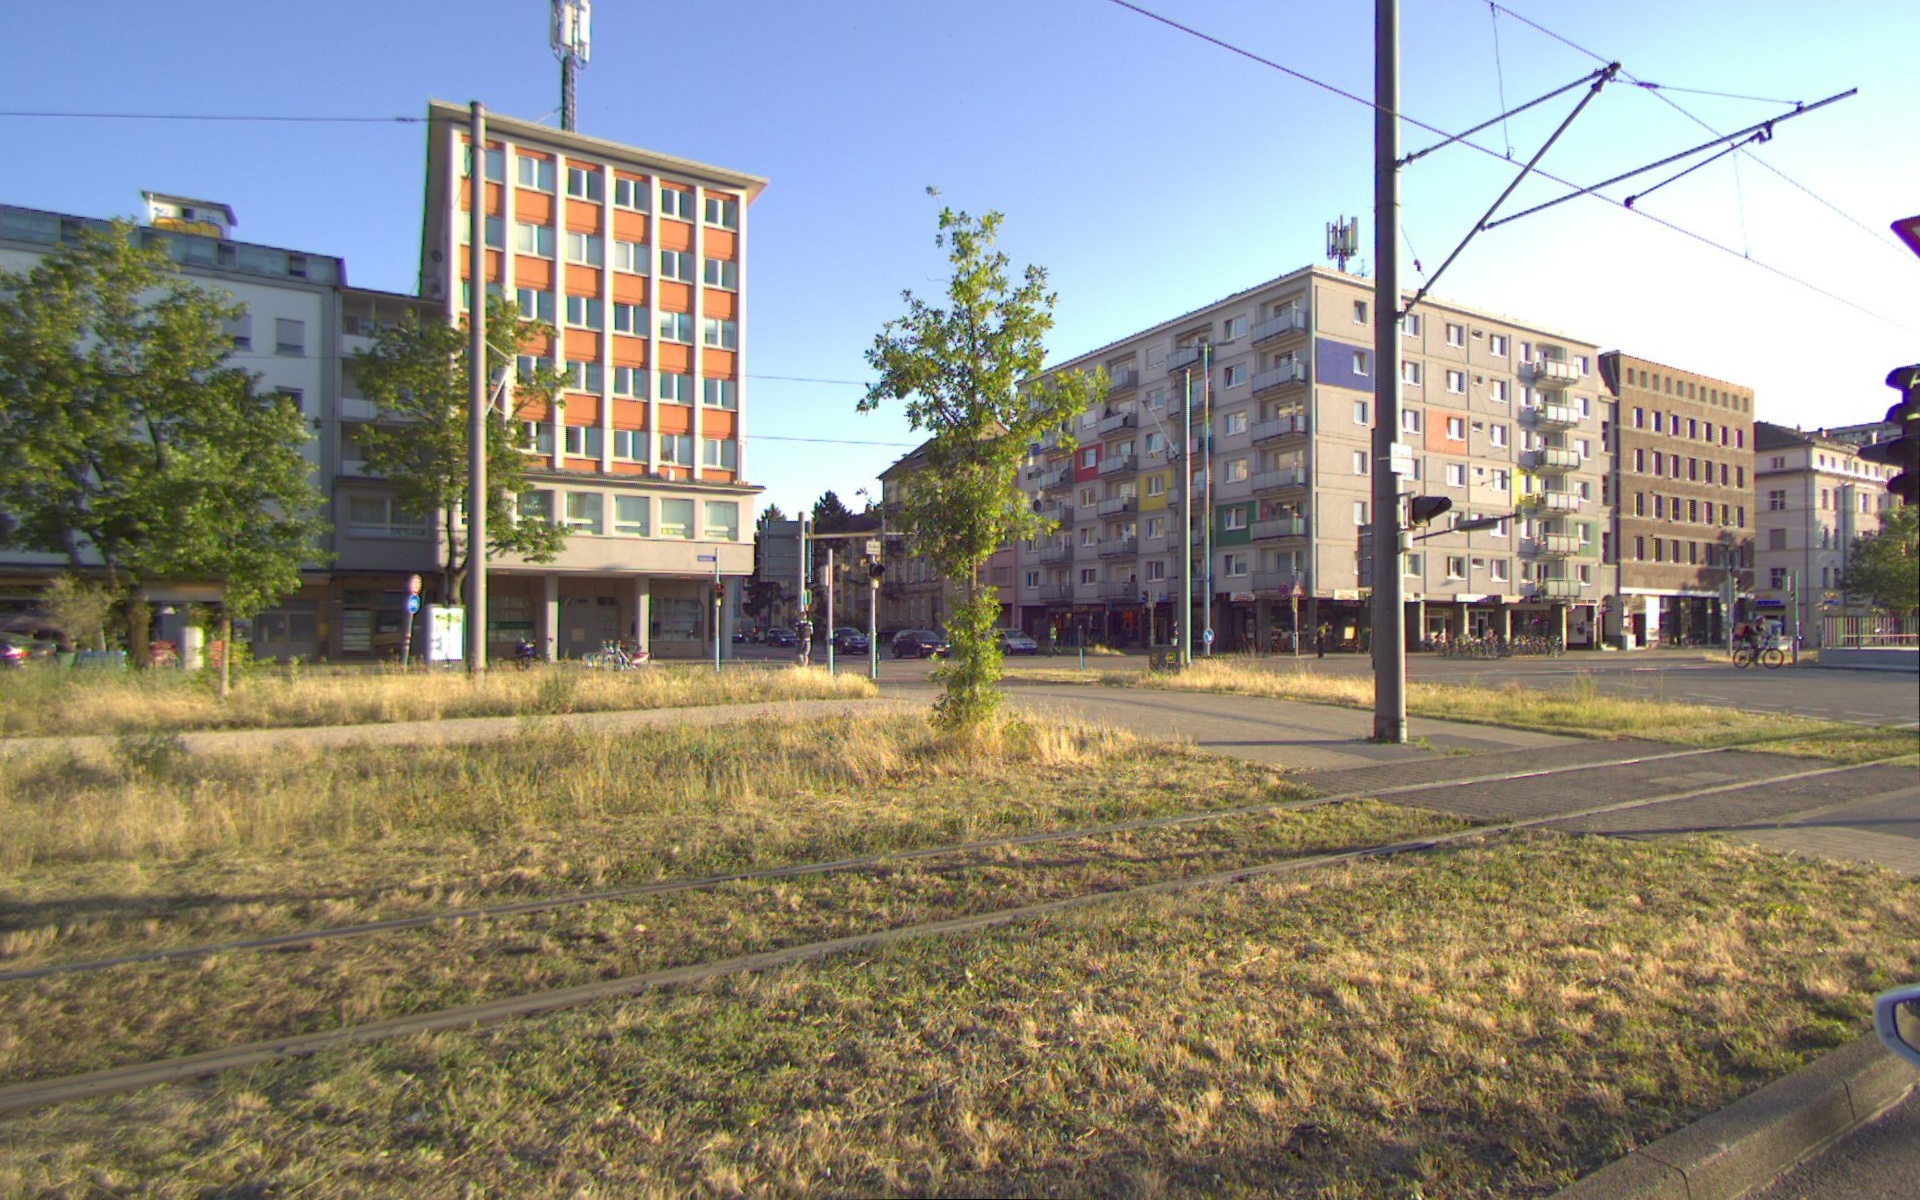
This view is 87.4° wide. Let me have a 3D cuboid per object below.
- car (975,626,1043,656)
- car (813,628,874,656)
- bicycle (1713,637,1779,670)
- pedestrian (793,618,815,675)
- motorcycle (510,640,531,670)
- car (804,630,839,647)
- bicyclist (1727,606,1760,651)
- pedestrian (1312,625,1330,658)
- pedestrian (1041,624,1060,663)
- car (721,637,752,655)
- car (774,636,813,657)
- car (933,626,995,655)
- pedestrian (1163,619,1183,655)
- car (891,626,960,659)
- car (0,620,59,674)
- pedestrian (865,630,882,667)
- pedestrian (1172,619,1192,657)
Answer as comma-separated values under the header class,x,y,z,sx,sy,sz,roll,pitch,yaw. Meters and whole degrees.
class,x,y,z,sx,sy,sz,roll,pitch,yaw
car,2.695,2.248,55.620,1.786,1.606,3.840,-1,-1,-35
car,-7.221,2.548,61.843,1.969,1.606,4.252,-1,-1,-35
bicycle,26.570,1.791,33.967,1.708,0.983,0.700,2,3,41
pedestrian,-4.929,1.454,31.758,0.638,1.786,0.721,-1,-1,-9
motorcycle,-16.851,2.095,38.509,0.525,1.082,1.442,-1,-1,-31
car,-13.451,3.734,97.429,1.786,1.606,3.840,-1,-1,-35
bicyclist,26.504,0.945,33.988,0.843,1.462,0.660,1,2,41
pedestrian,18.881,2.159,52.538,0.767,1.692,0.741,-1,-1,10
pedestrian,4.508,2.161,50.128,0.673,1.872,0.630,-1,-1,-30
car,-21.550,4.435,96.895,1.803,1.572,3.969,-1,-1,-30
car,-13.225,3.690,79.715,1.803,1.572,3.969,-1,-1,-30
car,0.196,2.366,59.669,1.786,1.606,3.840,-1,-1,-35
pedestrian,11.093,1.928,52.369,0.728,1.876,0.701,-1,-1,-30
car,-1.839,2.215,52.592,1.786,1.606,3.840,-1,-2,-35
car,-29.794,1.420,29.852,4.213,1.547,1.758,-1,-1,-8
pedestrian,-3.920,2.193,45.414,0.608,1.651,0.512,-1,-1,-30
pedestrian,11.404,1.942,51.553,0.812,1.872,0.599,-1,-1,-30
